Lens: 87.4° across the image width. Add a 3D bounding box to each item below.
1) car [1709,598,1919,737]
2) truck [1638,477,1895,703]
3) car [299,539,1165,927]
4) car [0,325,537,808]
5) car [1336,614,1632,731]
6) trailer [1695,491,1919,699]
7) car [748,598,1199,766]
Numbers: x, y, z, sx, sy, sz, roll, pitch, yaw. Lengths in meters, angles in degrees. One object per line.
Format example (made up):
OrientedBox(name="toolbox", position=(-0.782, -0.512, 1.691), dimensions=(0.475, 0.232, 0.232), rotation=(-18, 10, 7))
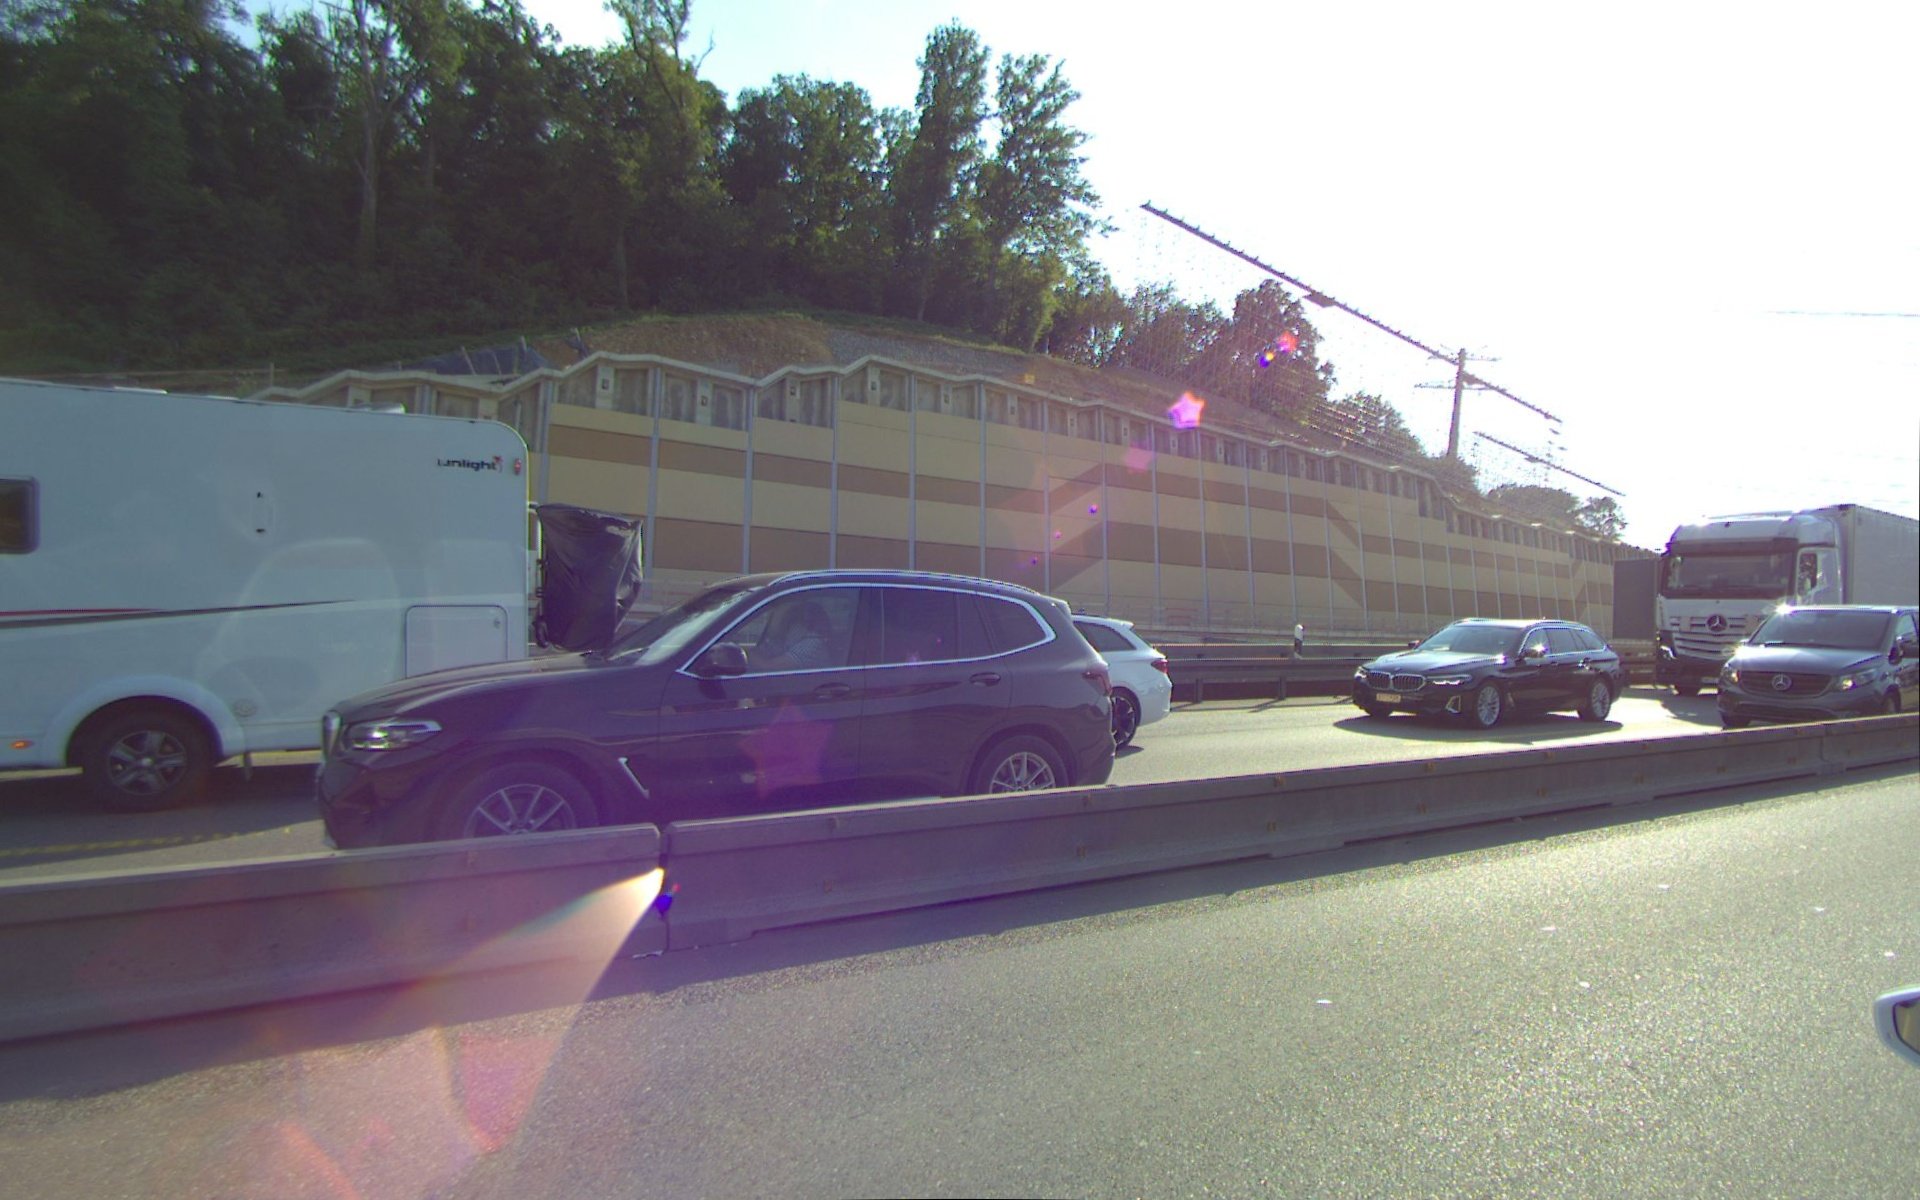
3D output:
OrientedBox(name="car", position=(13.670, 0.886, 15.278), dimensions=(5.391, 1.796, 1.795), rotation=(0, 1, -32))
OrientedBox(name="truck", position=(17.471, -0.113, 21.692), dimensions=(5.622, 4.274, 2.697), rotation=(2, 0, -33))
OrientedBox(name="car", position=(-1.144, 0.586, 6.128), dimensions=(4.699, 1.600, 1.809), rotation=(0, -2, -30))
OrientedBox(name="car", position=(-7.098, -0.222, 6.762), dimensions=(7.544, 2.956, 2.323), rotation=(2, -1, -31))
OrientedBox(name="car", position=(7.853, 1.015, 14.924), dimensions=(4.659, 1.479, 1.734), rotation=(2, -1, -31))
OrientedBox(name="trailer", position=(23.155, 0.076, 25.460), dimensions=(13.603, 4.274, 2.705), rotation=(2, 0, -33))
OrientedBox(name="car", position=(0.231, 0.783, 10.709), dimensions=(4.556, 1.441, 1.740), rotation=(2, 0, -31))
